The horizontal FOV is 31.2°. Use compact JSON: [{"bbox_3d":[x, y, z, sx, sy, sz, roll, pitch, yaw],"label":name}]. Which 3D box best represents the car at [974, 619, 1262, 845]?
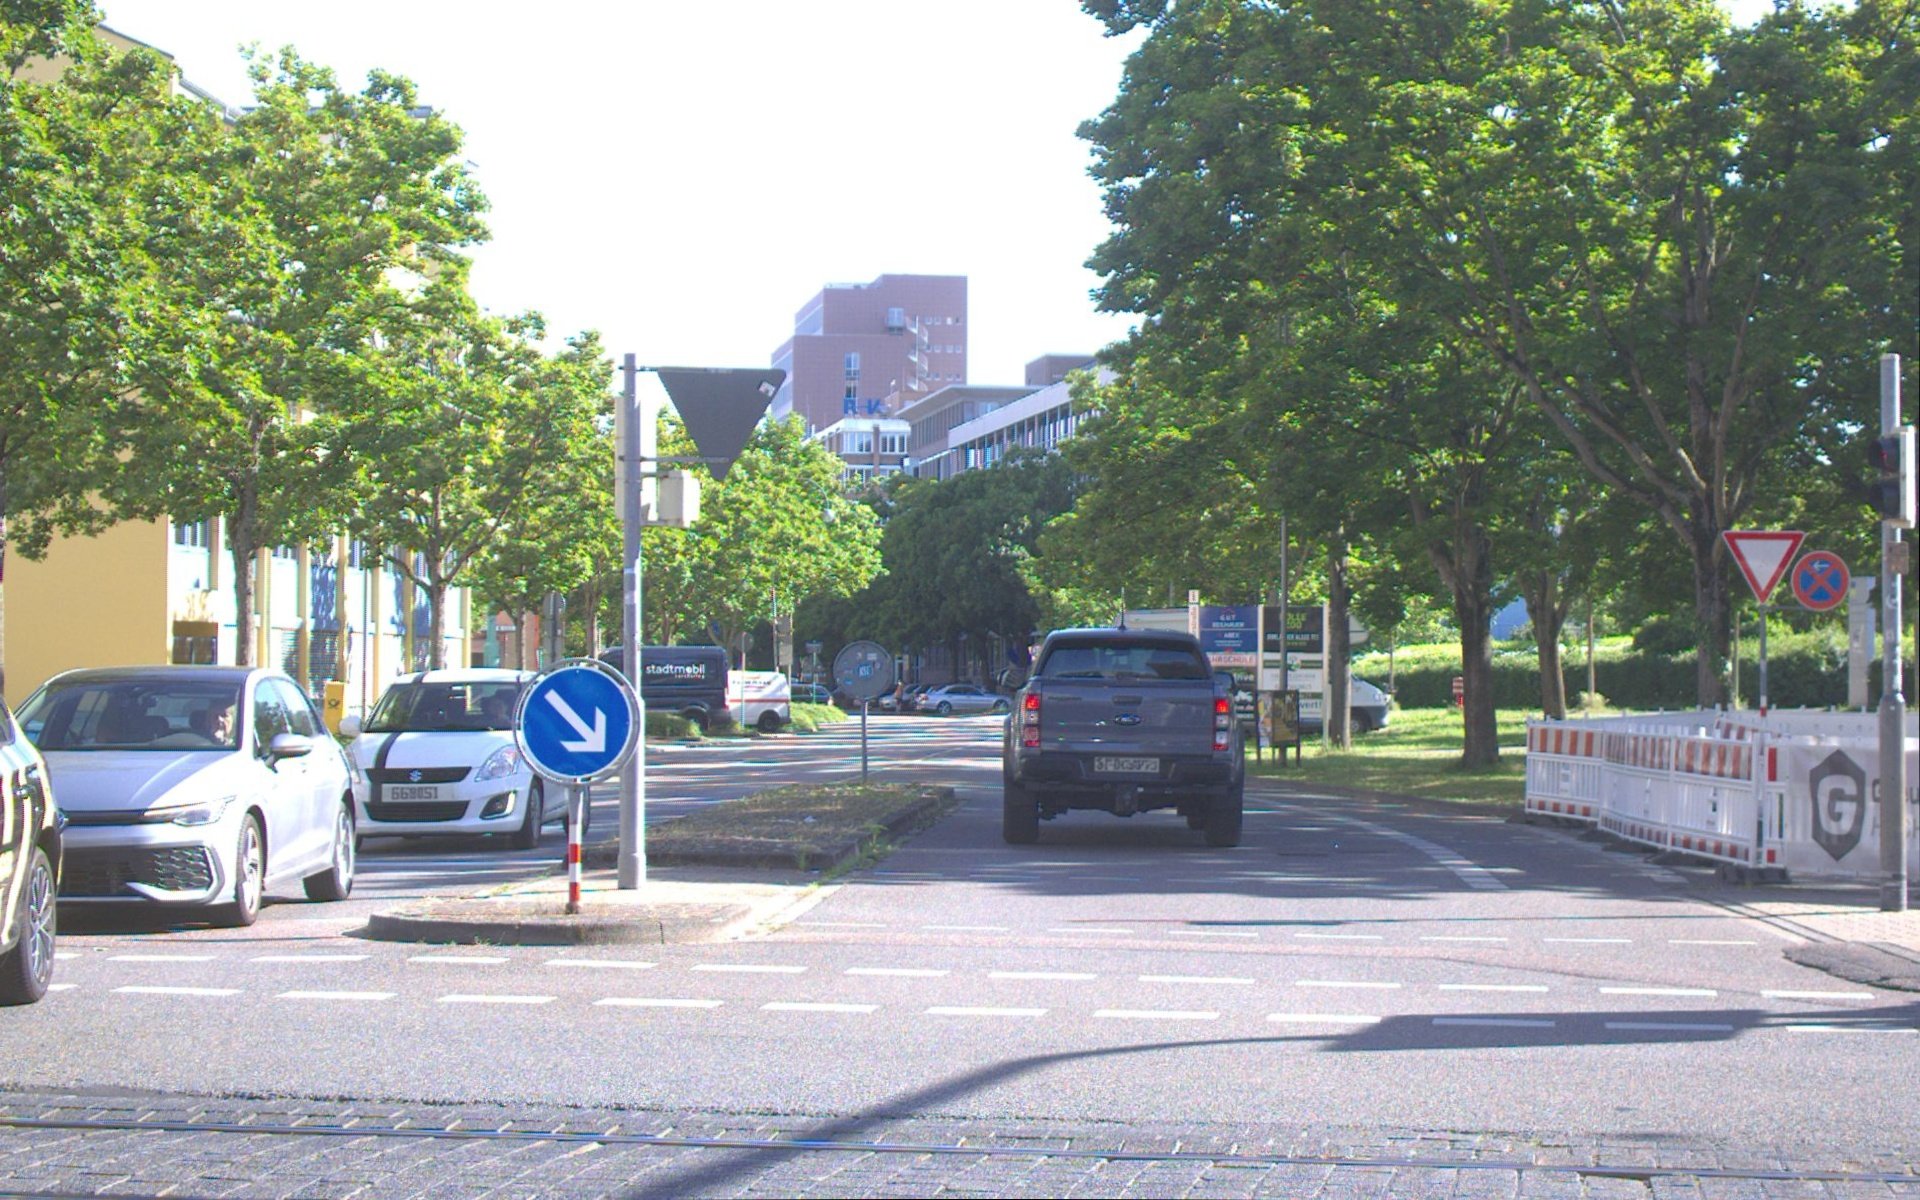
[{"bbox_3d":[1.293,1.108,30.340,2.133,1.829,4.940,0,-1,-2],"label":"car"}]

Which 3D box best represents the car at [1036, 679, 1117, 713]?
[{"bbox_3d":[4.753,3.937,141.030,3.244,1.273,1.516,-2,-1,1],"label":"car"}]

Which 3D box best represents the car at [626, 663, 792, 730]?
[{"bbox_3d":[-7.978,3.069,109.408,4.884,2.076,1.985,1,-2,-32],"label":"car"}]

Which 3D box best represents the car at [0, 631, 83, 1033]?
[{"bbox_3d":[-4.471,0.864,12.600,1.788,1.508,4.116,0,-1,-5],"label":"car"}]

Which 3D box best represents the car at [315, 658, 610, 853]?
[{"bbox_3d":[-4.173,1.274,29.391,1.705,1.507,3.862,-2,-1,4],"label":"car"}]

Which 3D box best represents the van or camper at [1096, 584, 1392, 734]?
[{"bbox_3d":[6.020,1.270,73.656,6.079,2.919,2.575,-2,-2,2],"label":"van or camper"}]

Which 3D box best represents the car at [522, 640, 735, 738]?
[{"bbox_3d":[-8.816,2.361,91.429,5.259,2.537,1.986,0,-2,-23],"label":"car"}]

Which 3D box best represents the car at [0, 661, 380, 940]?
[{"bbox_3d":[-4.572,1.083,19.928,1.708,1.447,3.850,0,-1,1],"label":"car"}]

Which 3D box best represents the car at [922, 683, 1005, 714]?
[{"bbox_3d":[0.175,4.898,171.238,3.946,1.392,1.516,-2,-1,-6],"label":"car"}]
